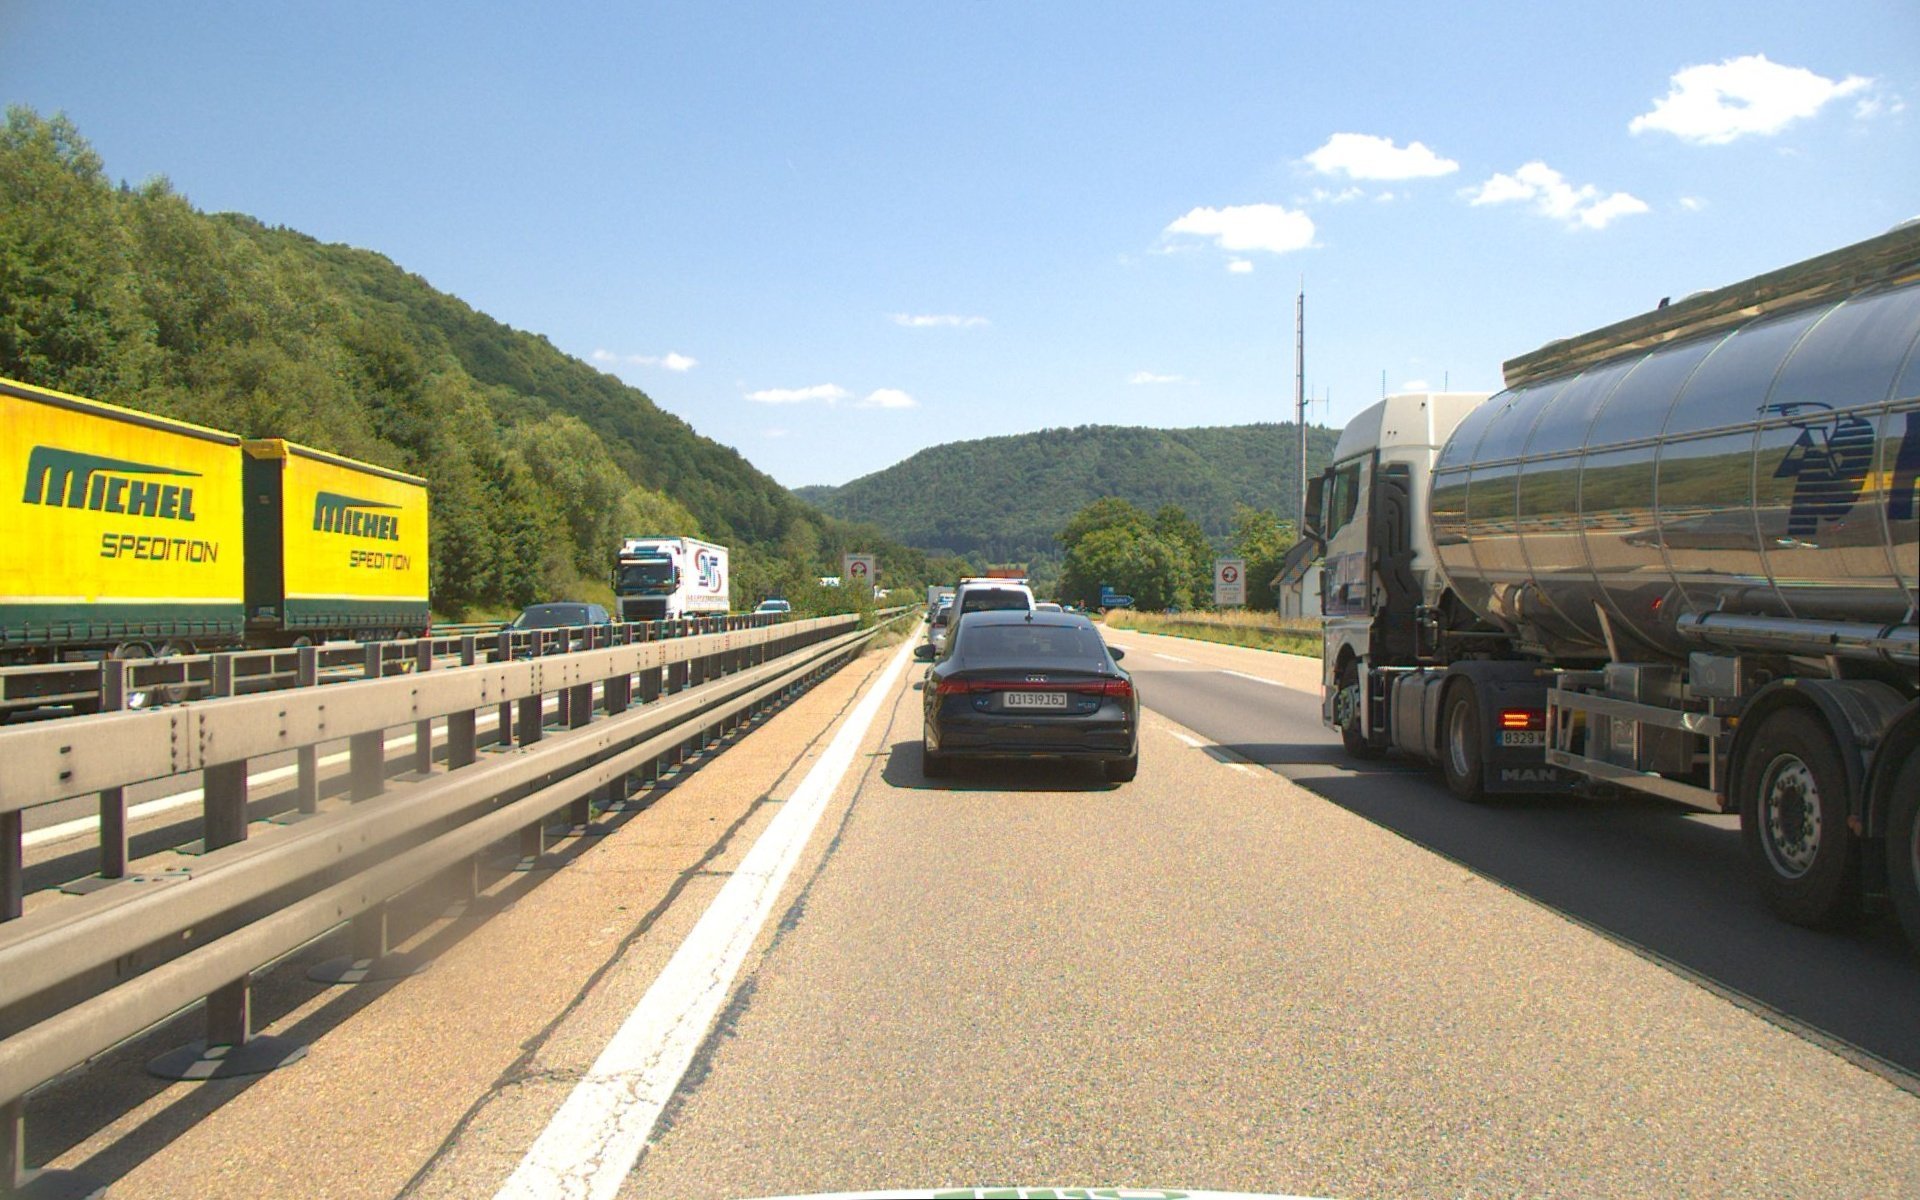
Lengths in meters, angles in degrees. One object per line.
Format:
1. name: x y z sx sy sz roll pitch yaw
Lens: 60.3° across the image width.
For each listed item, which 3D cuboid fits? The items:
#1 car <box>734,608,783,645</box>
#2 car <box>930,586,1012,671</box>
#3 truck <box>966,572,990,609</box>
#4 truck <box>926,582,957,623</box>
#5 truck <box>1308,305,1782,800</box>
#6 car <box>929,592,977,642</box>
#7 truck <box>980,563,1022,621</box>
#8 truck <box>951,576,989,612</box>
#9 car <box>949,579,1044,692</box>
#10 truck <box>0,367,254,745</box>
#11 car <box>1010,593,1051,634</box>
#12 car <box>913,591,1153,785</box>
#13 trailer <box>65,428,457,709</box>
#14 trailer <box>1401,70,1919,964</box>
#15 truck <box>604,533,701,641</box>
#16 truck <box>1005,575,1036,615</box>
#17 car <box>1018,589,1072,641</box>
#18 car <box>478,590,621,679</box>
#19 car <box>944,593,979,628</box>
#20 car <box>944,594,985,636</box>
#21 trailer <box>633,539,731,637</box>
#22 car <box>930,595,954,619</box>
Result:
1. car: -8.971 1.164 73.837 1.711 1.545 3.999 1 0 -1
2. car: 0.243 0.697 42.152 1.953 2.049 3.999 1 0 -1
3. truck: 1.712 -0.878 161.240 1.953 3.507 11.809 1 0 -1
4. truck: -1.614 0.255 147.331 2.575 3.501 11.419 0 0 0
5. truck: 5.127 -0.356 15.534 2.460 3.824 5.244 1 0 -1
6. car: -0.321 0.713 70.434 1.953 2.049 3.999 0 0 -1
7. truck: 2.972 -0.546 124.437 2.760 4.073 14.954 1 0 0
8. truck: 1.401 -0.744 214.158 3.713 4.491 14.964 0 0 5
9. car: 0.607 0.603 29.835 1.544 1.865 3.999 1 0 -1
10. truck: -12.109 -0.500 20.293 2.769 4.219 9.613 1 0 -1
11. car: 3.560 0.685 83.823 1.952 2.038 4.000 0 0 0
12. car: 0.524 0.706 15.173 1.812 1.514 4.080 1 0 -3
13. trailer: -12.199 -0.460 30.323 2.769 4.219 10.403 1 0 -1
14. trailer: 5.280 -0.338 8.631 2.487 3.801 11.887 1 0 -1
15. truck: -12.487 -0.510 67.630 2.850 4.174 5.847 1 0 -1
16. truck: 6.412 -0.505 177.458 2.760 4.073 14.954 1 0 0
17. car: 3.442 0.592 67.672 1.953 2.049 3.999 0 0 -1
18. car: -8.017 0.633 32.691 1.808 1.624 4.749 0 0 -2
19. car: 0.085 0.492 79.447 1.677 1.647 4.000 0 0 0
20. car: 0.211 0.755 83.057 1.953 2.049 3.999 0 0 -1
21. trailer: -12.636 -0.481 76.210 2.798 4.147 11.260 1 0 -1
22. car: -1.251 0.516 116.329 1.677 1.647 4.000 0 0 0
